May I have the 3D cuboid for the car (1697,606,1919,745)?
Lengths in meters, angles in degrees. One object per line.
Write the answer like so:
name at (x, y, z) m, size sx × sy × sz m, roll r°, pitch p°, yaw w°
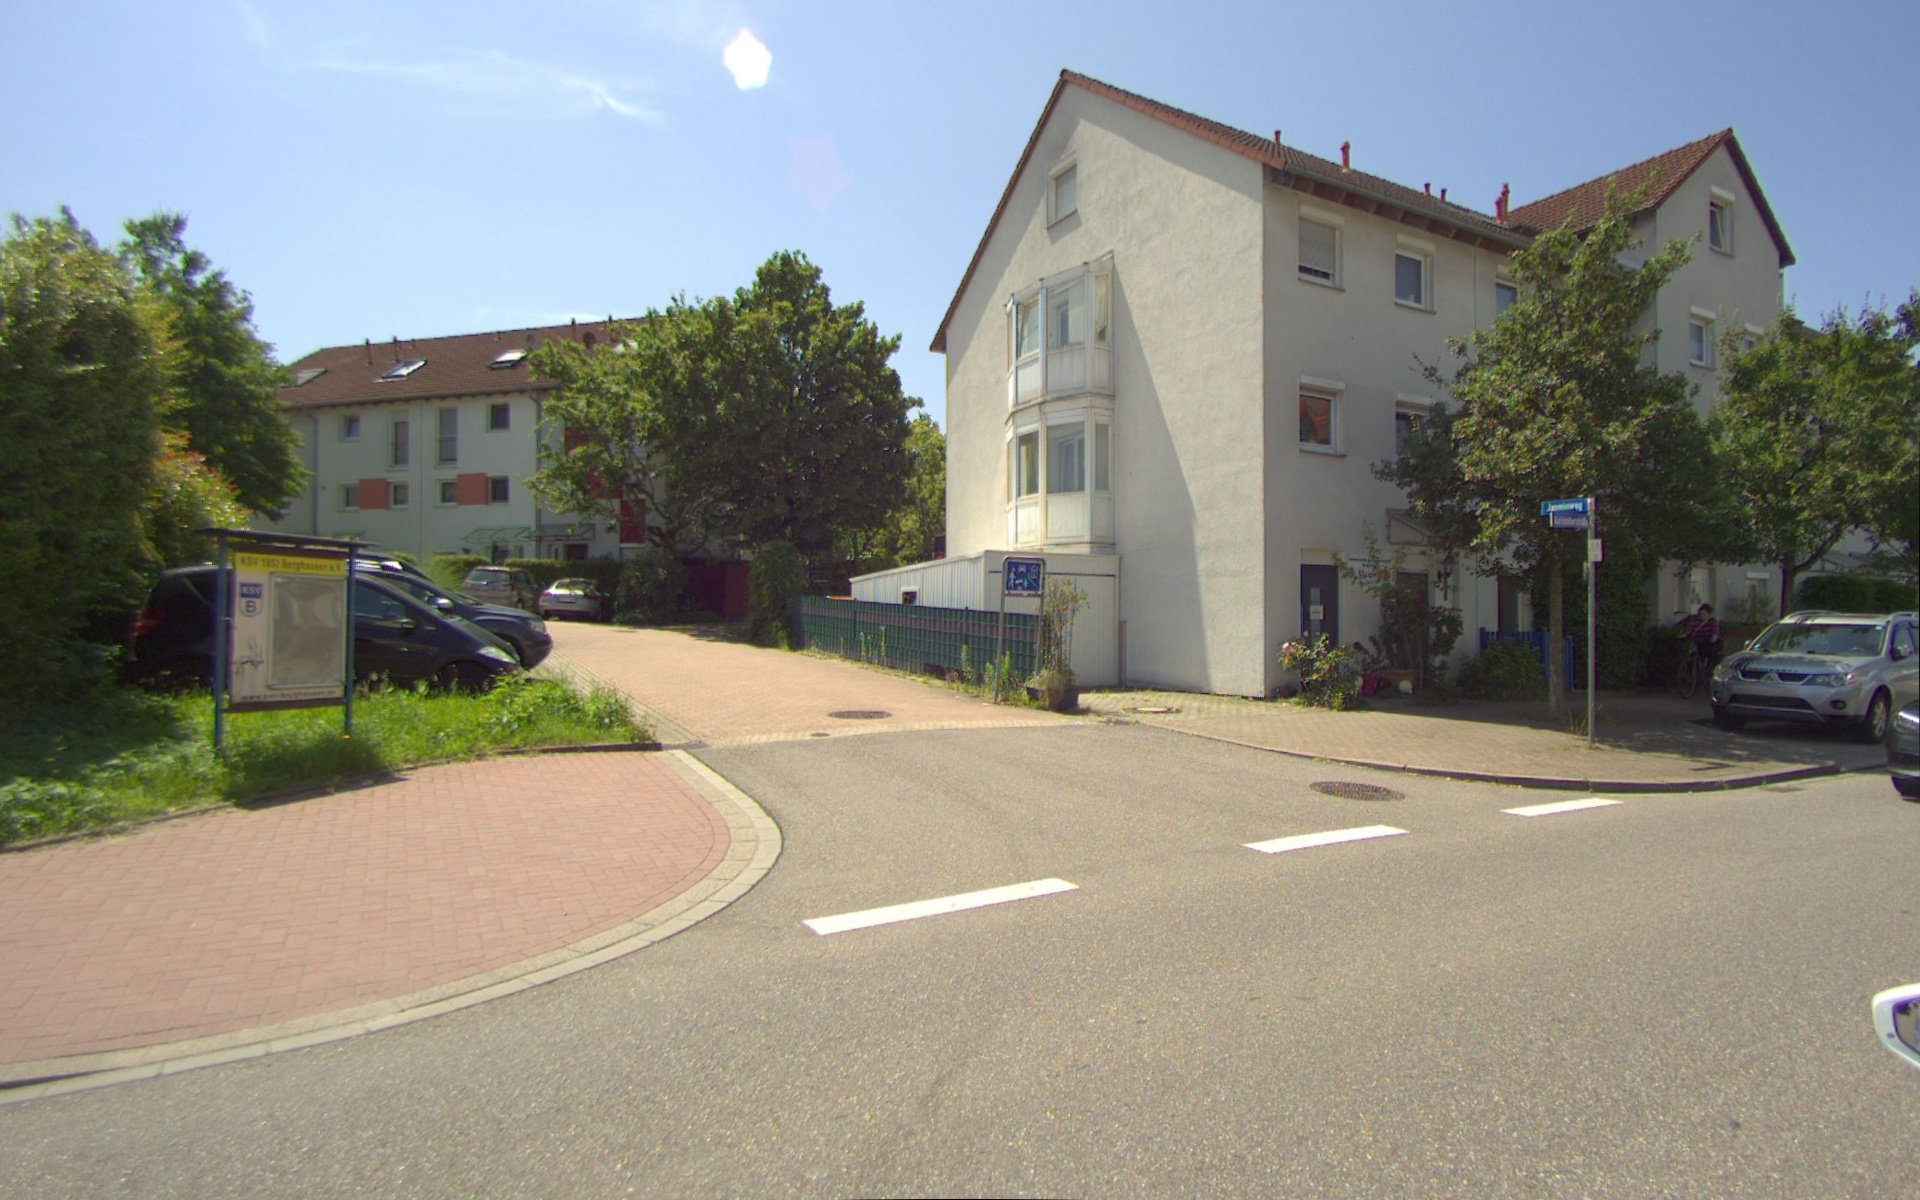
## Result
car at (12.540, 0.968, 14.334) m, size 4.474 × 1.709 × 1.697 m, roll 1°, pitch 0°, yaw -31°

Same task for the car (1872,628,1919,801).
car at (10.464, 0.999, 9.304) m, size 4.640 × 1.479 × 1.722 m, roll 1°, pitch -2°, yaw -31°

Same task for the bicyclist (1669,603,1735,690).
bicyclist at (13.576, 0.833, 18.373) m, size 0.900 × 1.514 × 0.654 m, roll 1°, pitch 2°, yaw -34°

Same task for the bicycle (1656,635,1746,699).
bicycle at (13.586, 1.198, 18.399) m, size 2.005 × 1.070 × 0.667 m, roll 1°, pitch 1°, yaw -34°

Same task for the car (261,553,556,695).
car at (-7.681, 0.313, 14.273) m, size 3.465 × 1.804 × 1.617 m, roll 1°, pitch 1°, yaw -27°

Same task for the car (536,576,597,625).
car at (-12.531, -0.027, 32.103) m, size 1.667 × 1.447 × 3.980 m, roll 1°, pitch 1°, yaw -21°

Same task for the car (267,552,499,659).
car at (-10.398, 0.105, 18.349) m, size 3.506 × 1.805 × 1.617 m, roll 1°, pitch 1°, yaw -27°

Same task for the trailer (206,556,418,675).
trailer at (-10.083, 0.220, 15.734) m, size 2.665 × 1.686 × 1.417 m, roll 1°, pitch 3°, yaw -34°

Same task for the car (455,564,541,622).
car at (-14.666, -0.239, 32.094) m, size 1.720 × 1.645 × 3.989 m, roll 2°, pitch 0°, yaw -14°

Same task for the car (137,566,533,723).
car at (-6.922, 0.457, 11.529) m, size 3.605 × 1.561 × 1.617 m, roll 1°, pitch 1°, yaw -27°
